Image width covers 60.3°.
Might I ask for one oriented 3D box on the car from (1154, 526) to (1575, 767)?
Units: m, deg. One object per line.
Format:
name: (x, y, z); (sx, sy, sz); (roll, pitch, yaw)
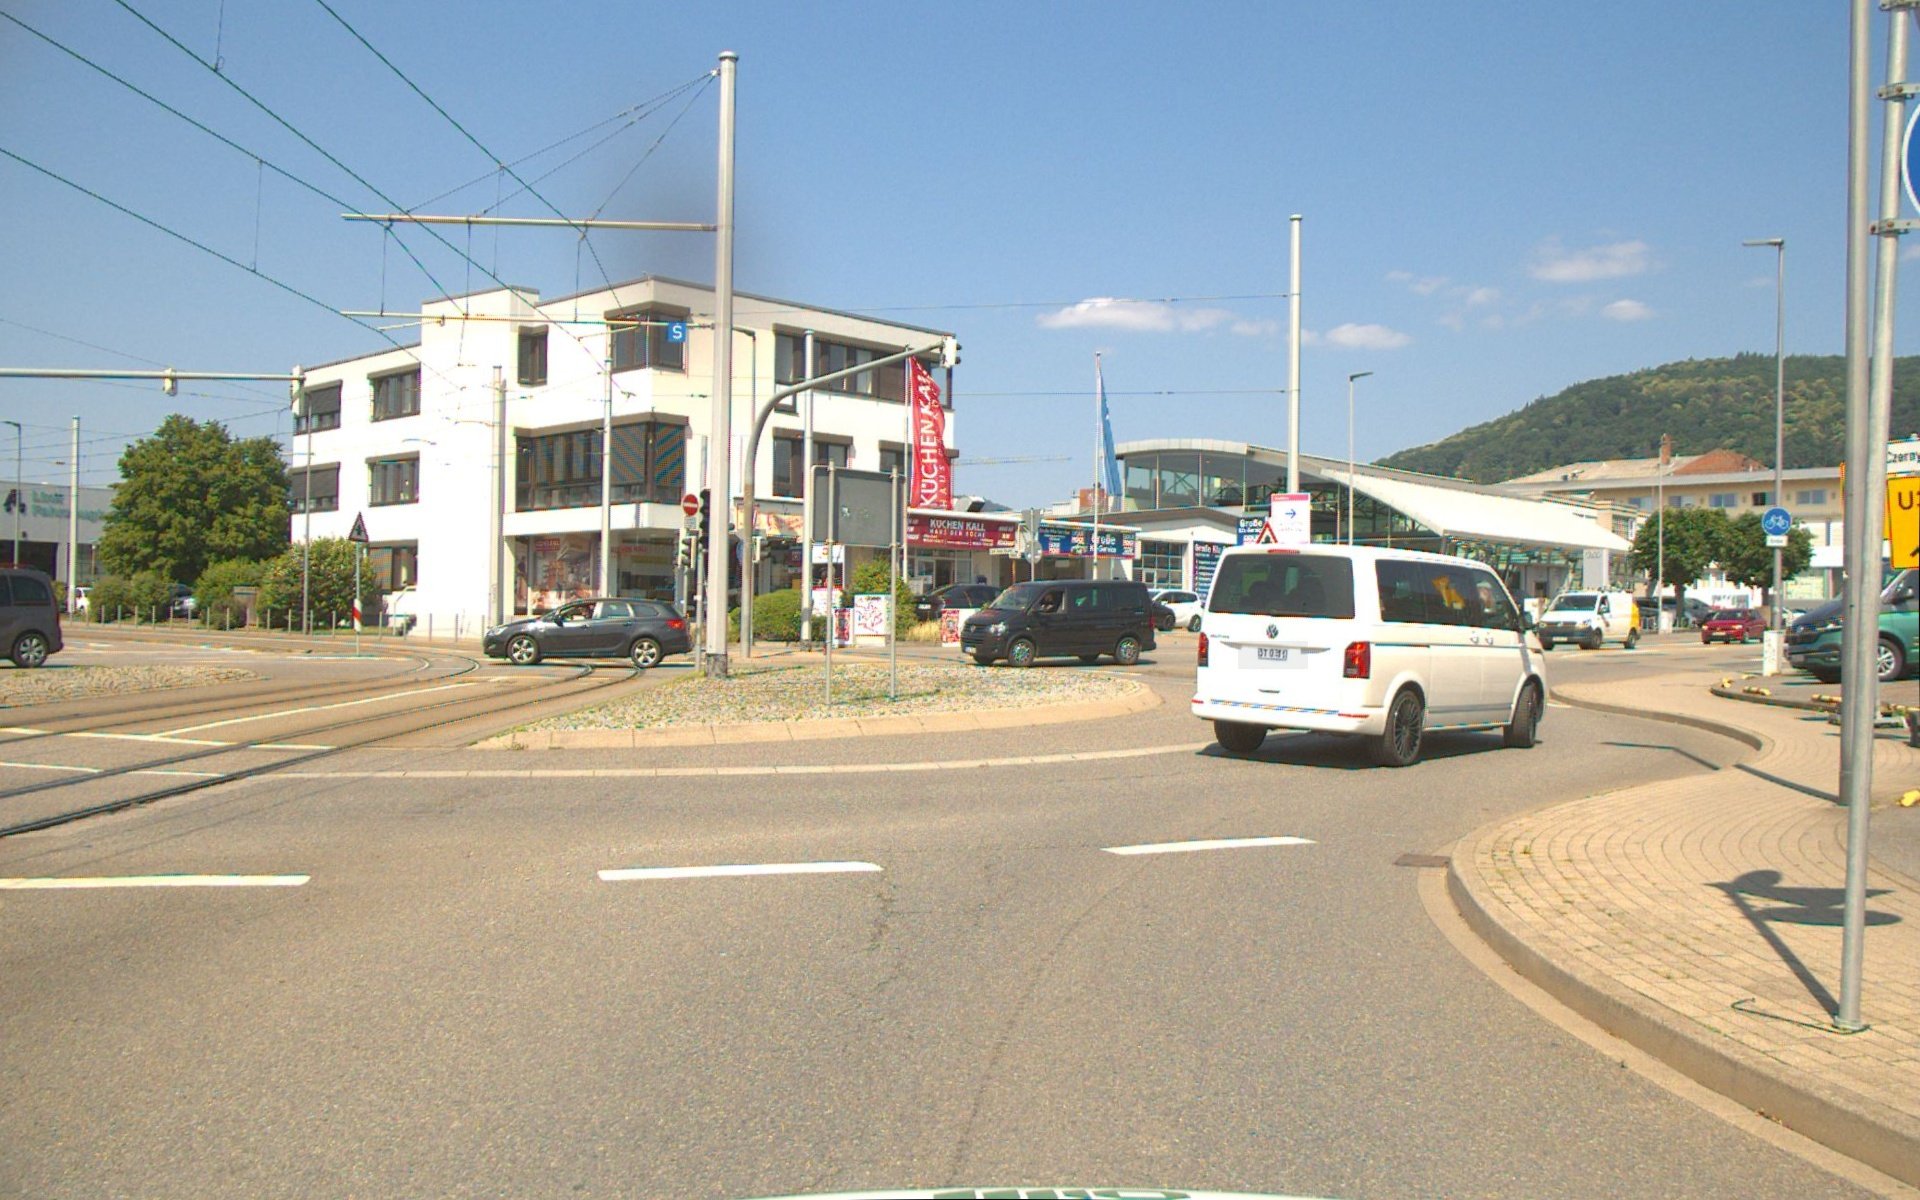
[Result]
car: (4.227, 0.413, 16.663); (2.129, 2.049, 4.990); (1, 0, 40)

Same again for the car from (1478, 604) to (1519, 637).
car: (27.104, 1.012, 83.172); (1.710, 1.612, 3.661); (0, 0, 22)

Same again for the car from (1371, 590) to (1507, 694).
car: (9.000, 0.735, 30.843); (1.953, 1.763, 4.563); (1, 0, 22)

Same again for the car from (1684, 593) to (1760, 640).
car: (31.838, 0.691, 69.049); (1.987, 1.870, 4.850); (1, 0, 36)

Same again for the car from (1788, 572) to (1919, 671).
car: (20.556, 0.450, 35.070); (5.023, 2.049, 1.932); (-1, -1, 13)

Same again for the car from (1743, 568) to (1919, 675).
car: (18.459, 0.427, 32.663); (5.033, 2.035, 2.026); (0, -1, 9)

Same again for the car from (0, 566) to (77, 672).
car: (-18.120, 0.317, 28.846); (1.949, 1.850, 4.395); (1, 0, 34)

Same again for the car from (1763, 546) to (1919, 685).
car: (16.028, 0.261, 26.697); (5.100, 2.150, 2.098); (1, 0, 5)

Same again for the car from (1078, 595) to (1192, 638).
car: (6.344, 0.592, 59.596); (1.996, 1.452, 4.292); (1, 0, 41)

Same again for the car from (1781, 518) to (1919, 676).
car: (18.439, -0.053, 29.907); (6.006, 2.764, 2.308); (0, 0, 7)

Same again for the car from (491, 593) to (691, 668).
car: (-8.155, 0.667, 36.872); (4.148, 1.583, 1.966); (1, 0, -8)

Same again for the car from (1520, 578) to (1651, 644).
car: (21.423, 0.348, 56.552); (4.885, 2.151, 2.000); (0, 1, -39)

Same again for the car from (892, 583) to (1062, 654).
car: (0.559, 0.534, 49.029); (5.241, 2.000, 1.934); (1, 0, -45)

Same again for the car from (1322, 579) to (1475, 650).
car: (12.816, 0.434, 48.164); (4.783, 1.969, 1.906); (1, 0, -40)

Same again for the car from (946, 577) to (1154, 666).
car: (2.142, 0.473, 38.864); (4.581, 1.943, 2.074); (0, 1, -33)

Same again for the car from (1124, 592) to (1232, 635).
car: (8.707, 0.557, 65.733); (1.852, 1.616, 4.899); (-2, -2, 41)
